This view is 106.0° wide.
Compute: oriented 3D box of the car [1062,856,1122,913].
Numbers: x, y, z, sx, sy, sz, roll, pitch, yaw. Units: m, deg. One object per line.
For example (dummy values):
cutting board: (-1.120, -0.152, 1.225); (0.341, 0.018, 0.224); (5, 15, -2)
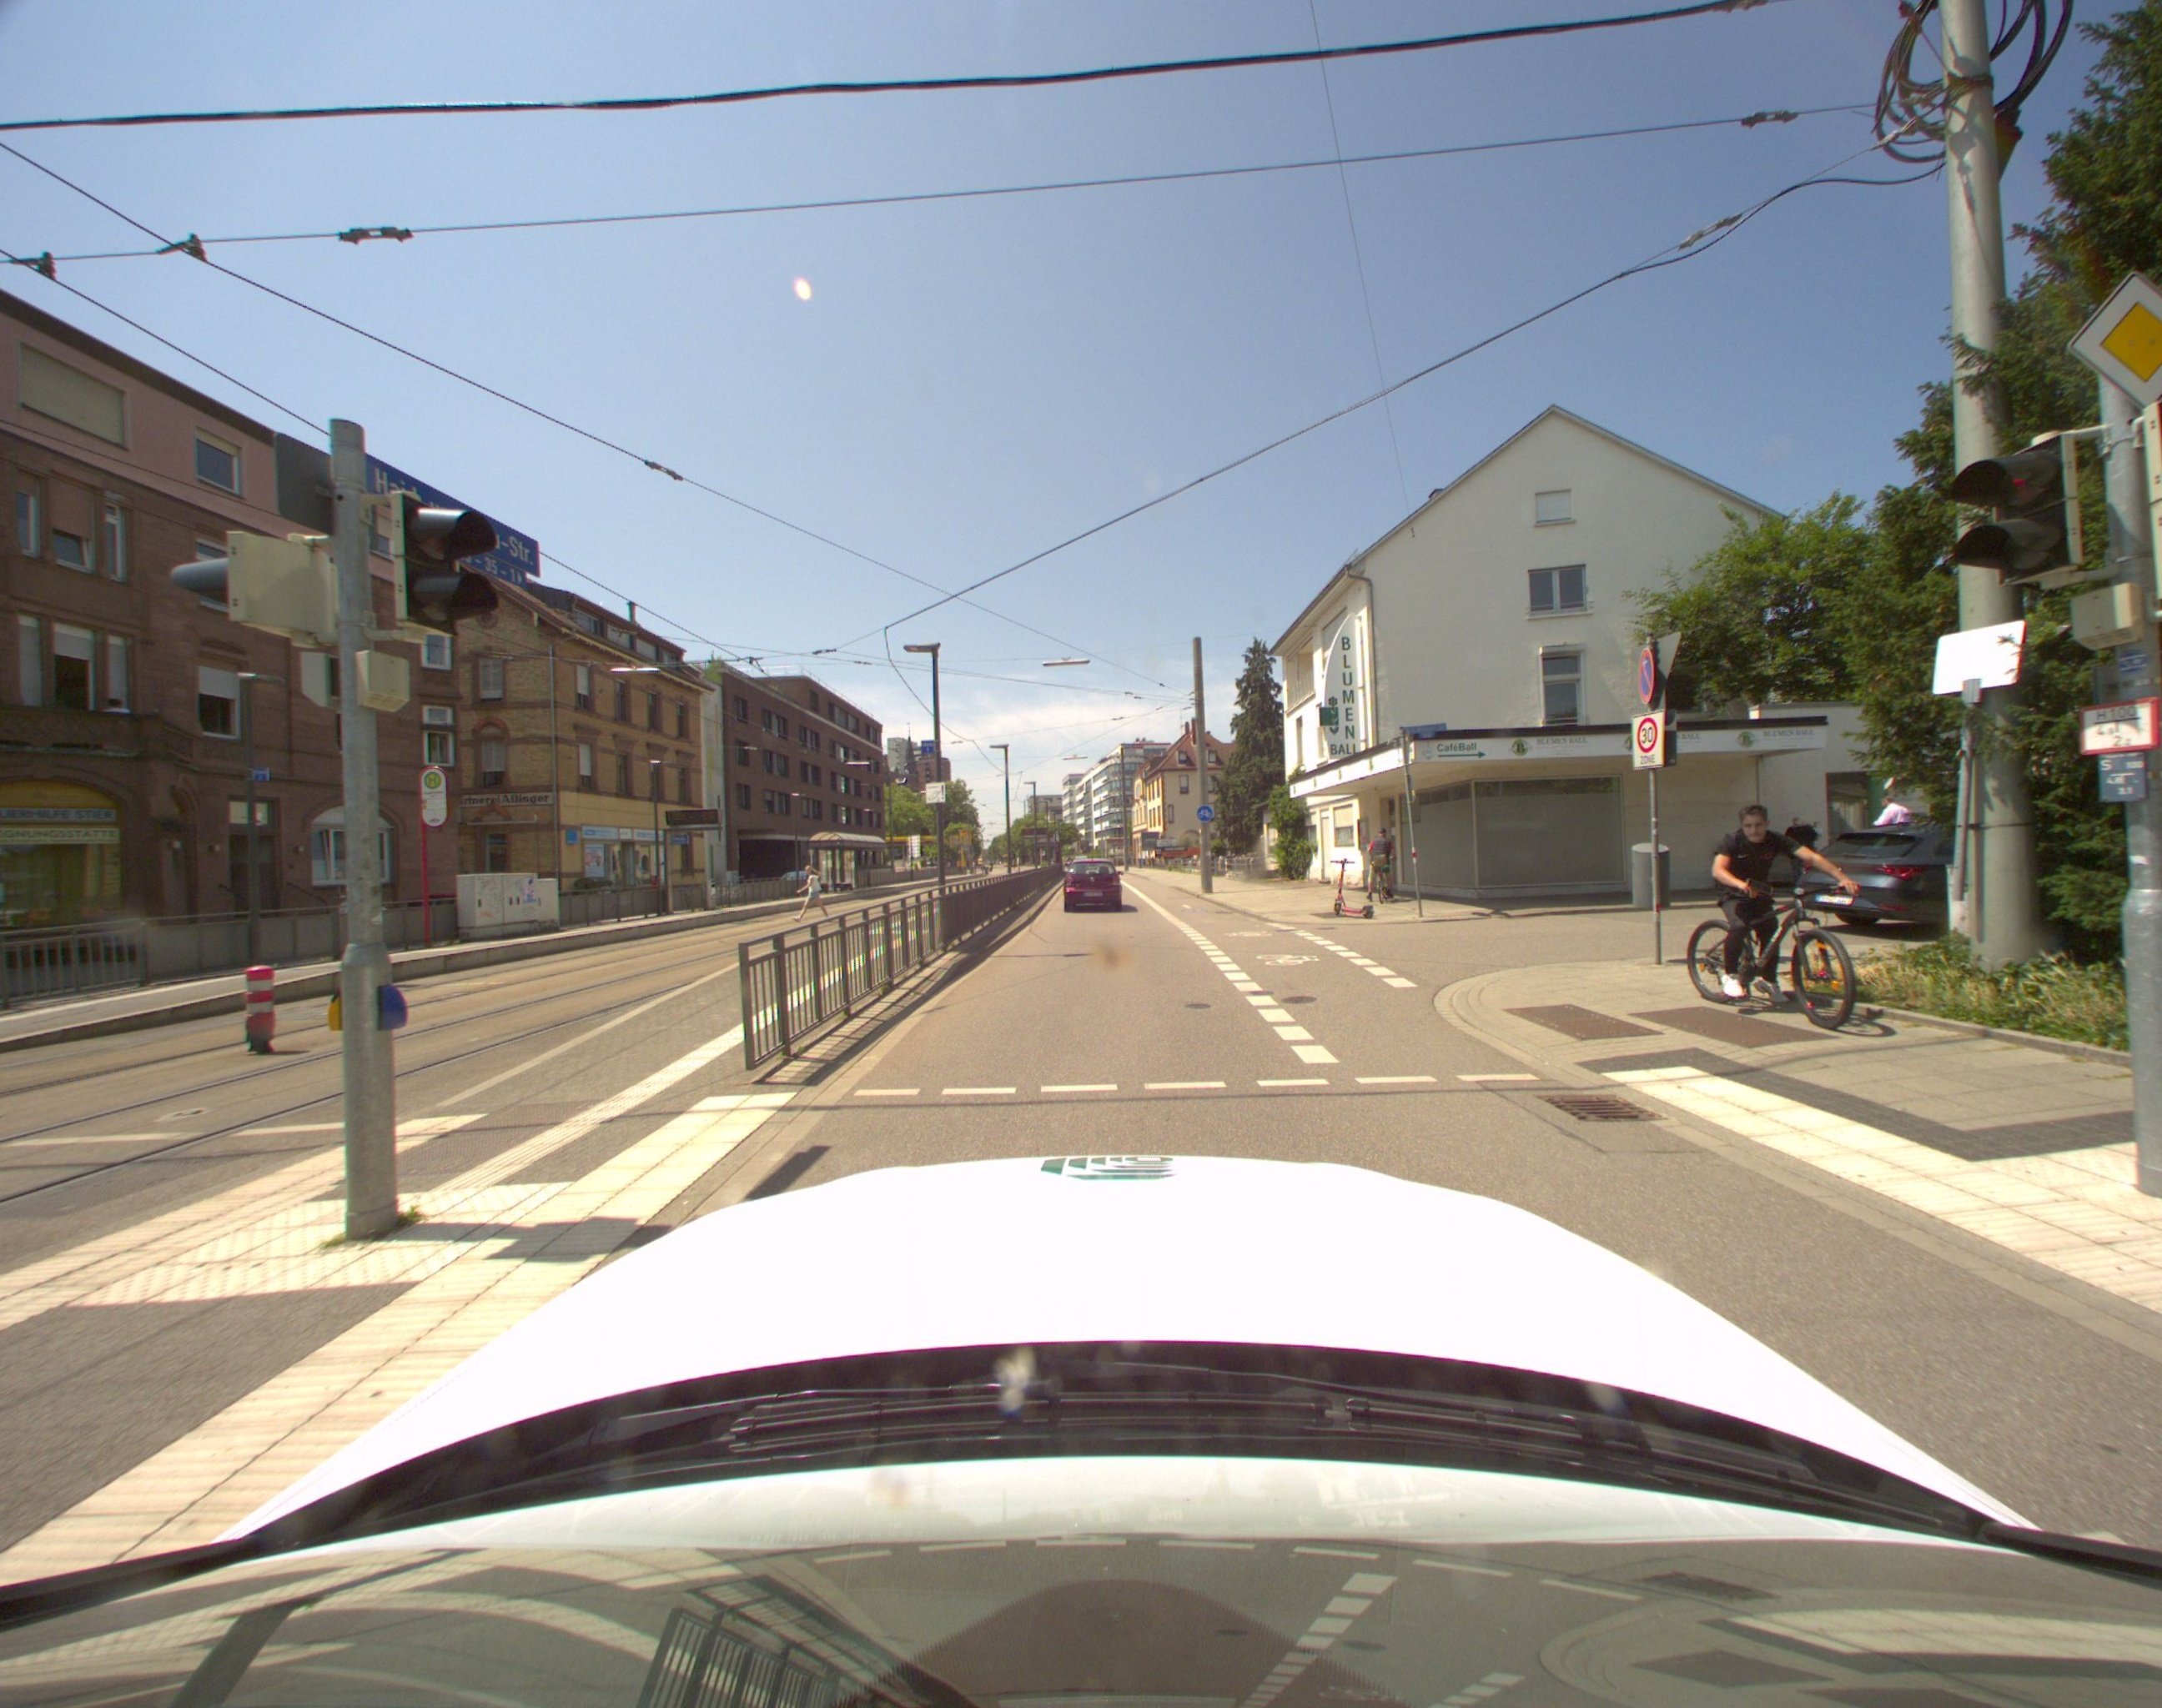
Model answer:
car: (0.293, 0.828, 23.384); (1.556, 1.453, 3.061); (-3, 0, 0)

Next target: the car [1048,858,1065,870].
car: (-4.017, 1.615, 130.872); (1.995, 1.848, 3.984); (-3, 0, -11)

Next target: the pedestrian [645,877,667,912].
pedestrian: (-19.895, 1.899, 38.097); (0.612, 1.560, 0.640); (-3, 0, 0)

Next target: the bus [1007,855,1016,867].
bus: (-17.783, 1.834, 208.647); (2.142, 3.003, 6.559); (-3, 0, -6)

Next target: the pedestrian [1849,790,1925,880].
pedestrian: (17.719, -0.404, 17.924); (0.853, 1.904, 0.750); (-3, 0, 1)

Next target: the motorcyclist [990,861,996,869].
motorcyclist: (-13.783, 1.767, 127.565); (0.846, 1.139, 0.635); (-3, 0, 3)

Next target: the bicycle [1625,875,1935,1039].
bicycle: (5.340, 0.712, 6.419); (0.667, 1.002, 1.861); (-7, 0, -3)

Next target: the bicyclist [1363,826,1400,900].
bicyclist: (7.426, 0.223, 20.119); (0.721, 1.760, 0.929); (-3, 0, 23)

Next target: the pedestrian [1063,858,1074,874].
pedestrian: (-1.447, 1.420, 95.746); (1.166, 1.836, 0.791); (-3, 0, -3)

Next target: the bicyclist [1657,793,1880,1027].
bicyclist: (5.345, 0.410, 6.398); (0.831, 1.618, 0.859); (-7, -1, -4)

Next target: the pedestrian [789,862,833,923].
pedestrian: (-7.775, 1.100, 23.443); (1.102, 1.674, 0.759); (-2, -1, -24)

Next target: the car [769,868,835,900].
car: (-15.298, 1.596, 44.848); (1.985, 1.508, 4.003); (-3, 0, 3)

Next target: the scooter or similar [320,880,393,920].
scooter or similar: (-21.749, 1.354, 24.473); (0.484, 1.082, 1.584); (-3, 0, 17)

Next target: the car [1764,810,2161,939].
car: (11.964, 0.225, 10.900); (4.211, 1.431, 1.711); (-2, 2, 0)

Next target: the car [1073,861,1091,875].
car: (0.137, 1.679, 101.713); (1.989, 1.624, 4.627); (-3, 0, -3)

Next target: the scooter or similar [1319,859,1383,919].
scooter or similar: (5.558, 0.714, 16.836); (0.341, 1.178, 1.456); (-2, -1, -23)

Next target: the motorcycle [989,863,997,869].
motorcycle: (-13.787, 1.925, 127.617); (0.868, 0.806, 1.911); (-3, 0, 4)

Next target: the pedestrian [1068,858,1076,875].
pedestrian: (-1.038, 1.452, 94.341); (0.743, 1.836, 0.791); (-3, 0, -2)

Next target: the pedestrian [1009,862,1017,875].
pedestrian: (-10.699, 2.234, 128.211); (1.105, 2.014, 1.039); (-2, -1, 1)

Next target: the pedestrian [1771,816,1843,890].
pedestrian: (15.744, -0.032, 17.675); (0.908, 1.542, 0.707); (-3, 1, 1)

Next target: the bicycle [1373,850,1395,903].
bicycle: (7.439, 0.525, 19.955); (0.372, 1.197, 1.916); (-3, 0, 23)
